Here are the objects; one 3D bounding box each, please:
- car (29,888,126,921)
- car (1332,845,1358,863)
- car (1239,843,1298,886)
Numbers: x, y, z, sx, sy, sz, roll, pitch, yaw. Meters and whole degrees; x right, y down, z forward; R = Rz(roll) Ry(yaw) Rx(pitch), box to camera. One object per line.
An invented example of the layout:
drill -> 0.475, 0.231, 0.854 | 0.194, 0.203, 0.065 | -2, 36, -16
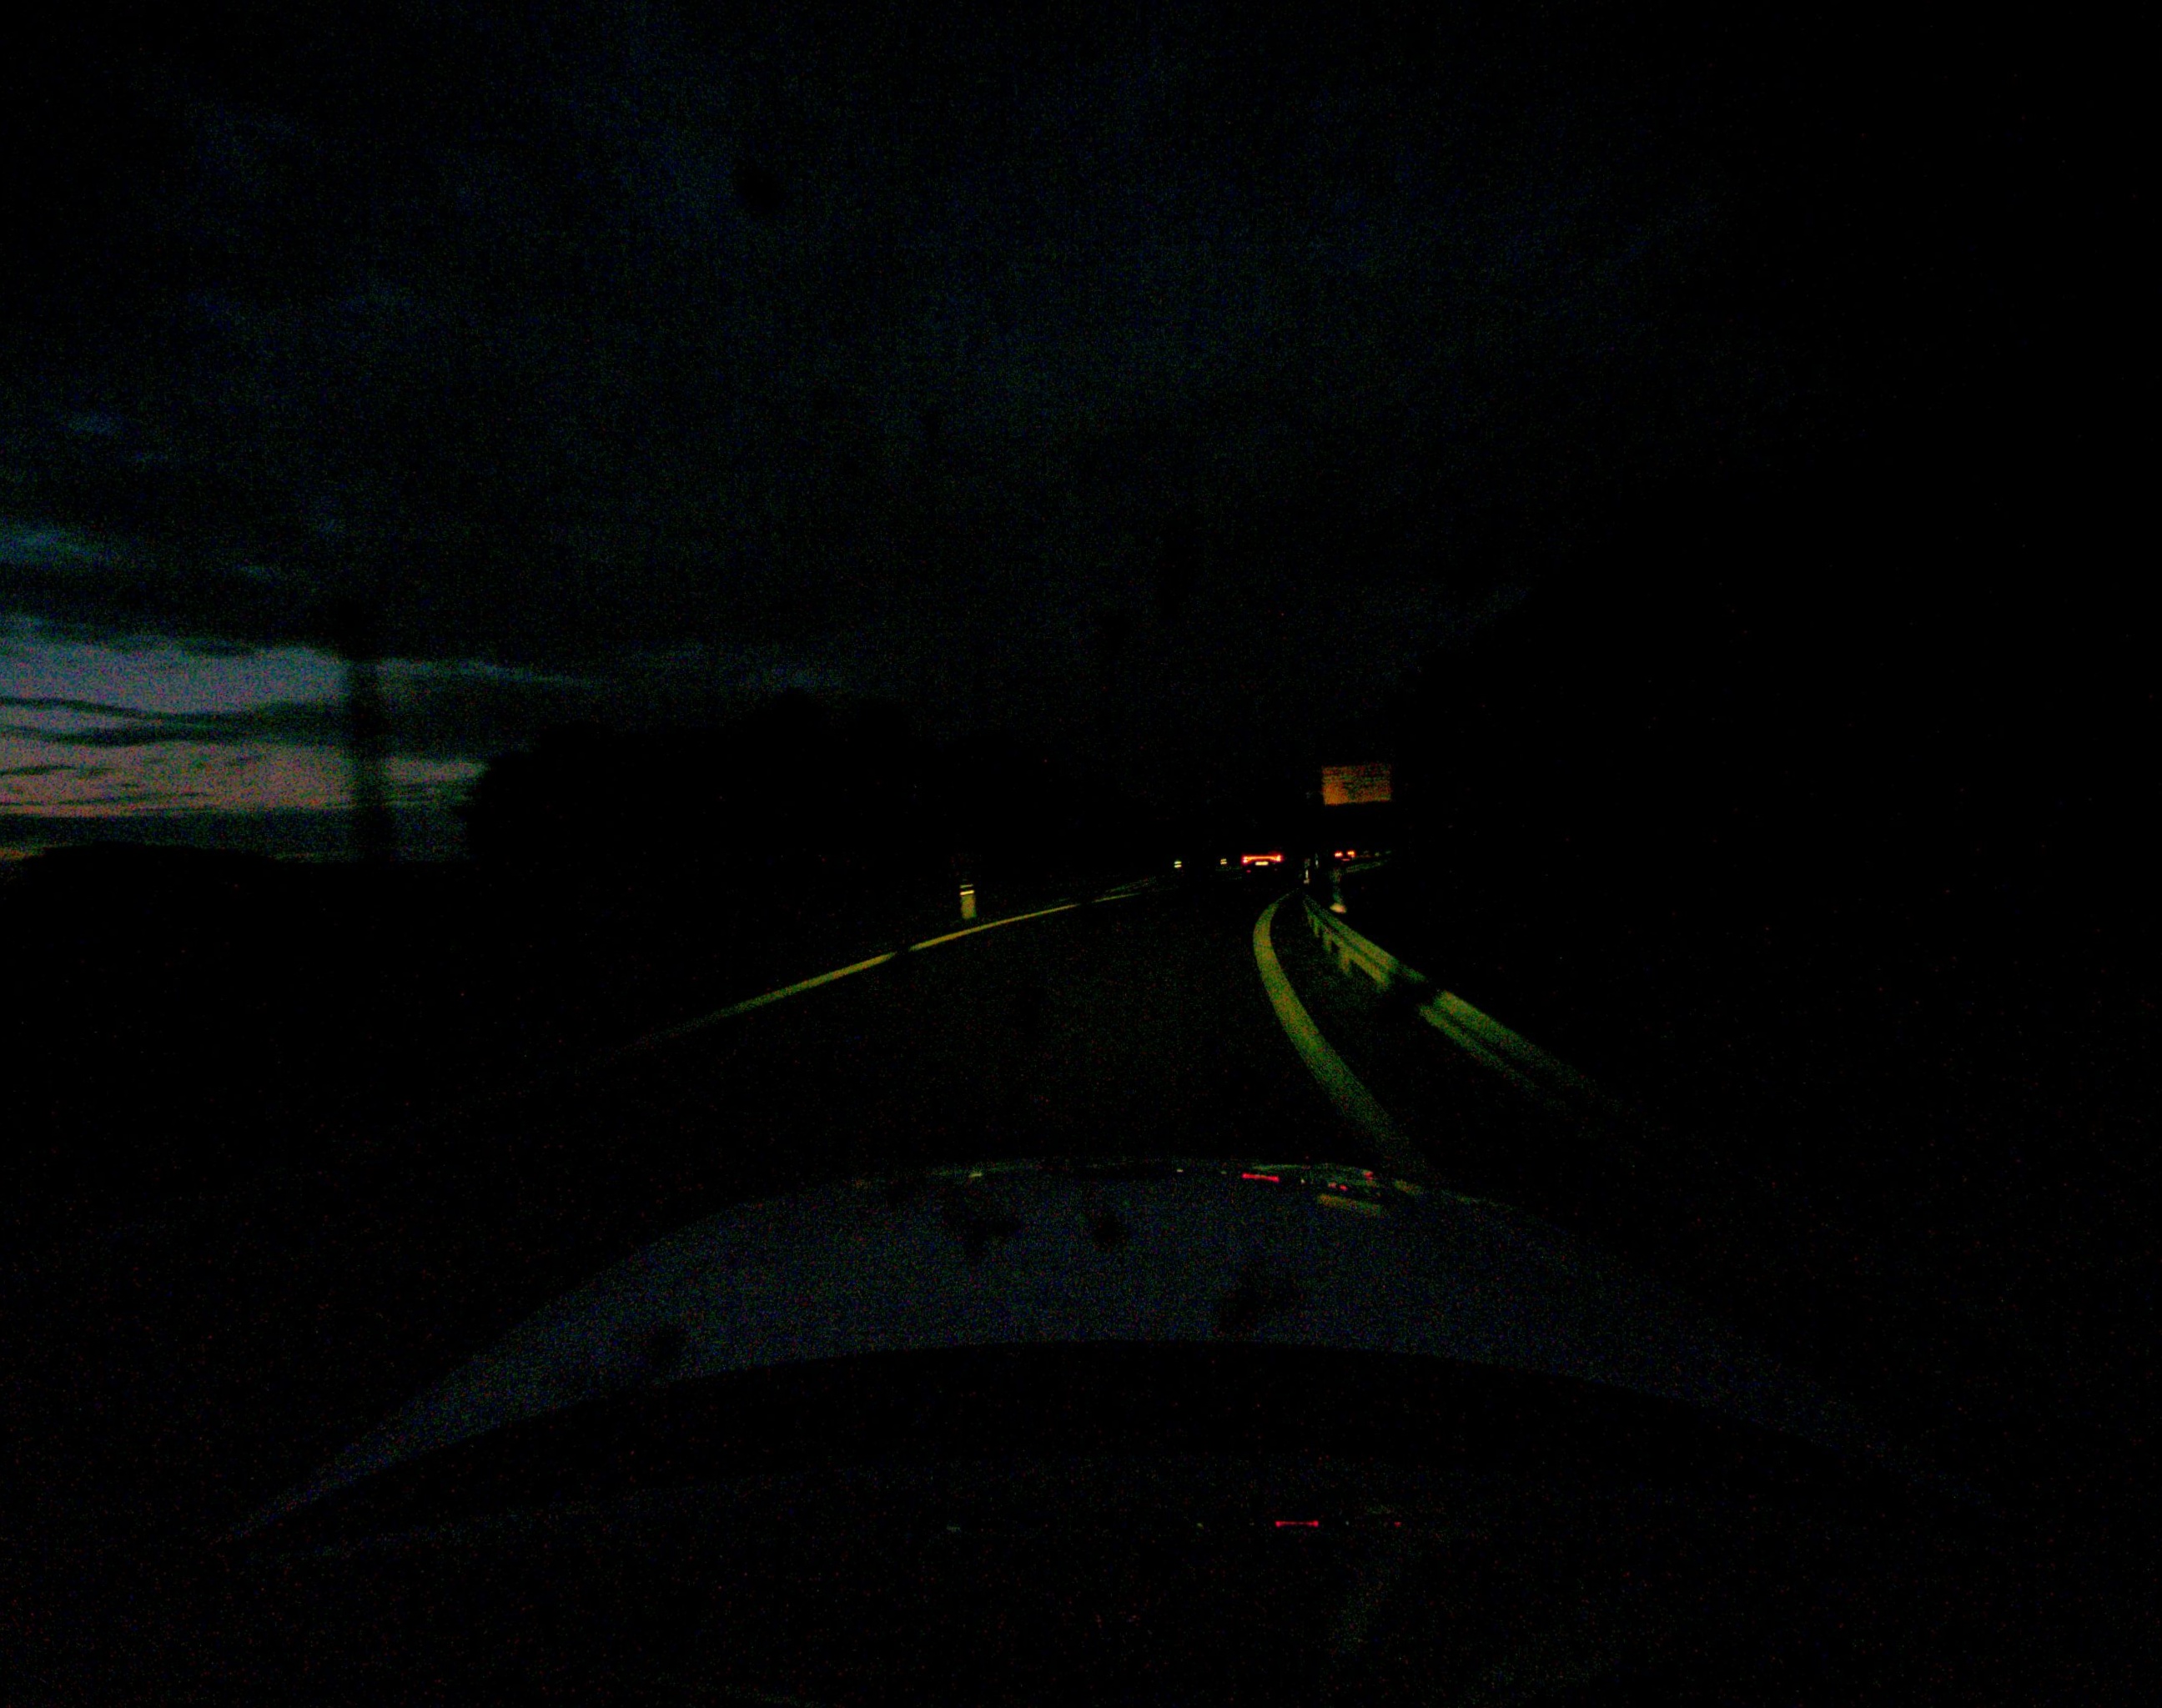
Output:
car -> -59.766, 2.974, 48.602 | 2.006, 1.498, 4.505 | -6, 2, -30
car -> 25.368, -0.005, 78.251 | 1.976, 1.598, 4.022 | -2, 0, 23
car -> 8.360, 0.441, 36.046 | 1.977, 1.659, 4.335 | -5, -1, 19
